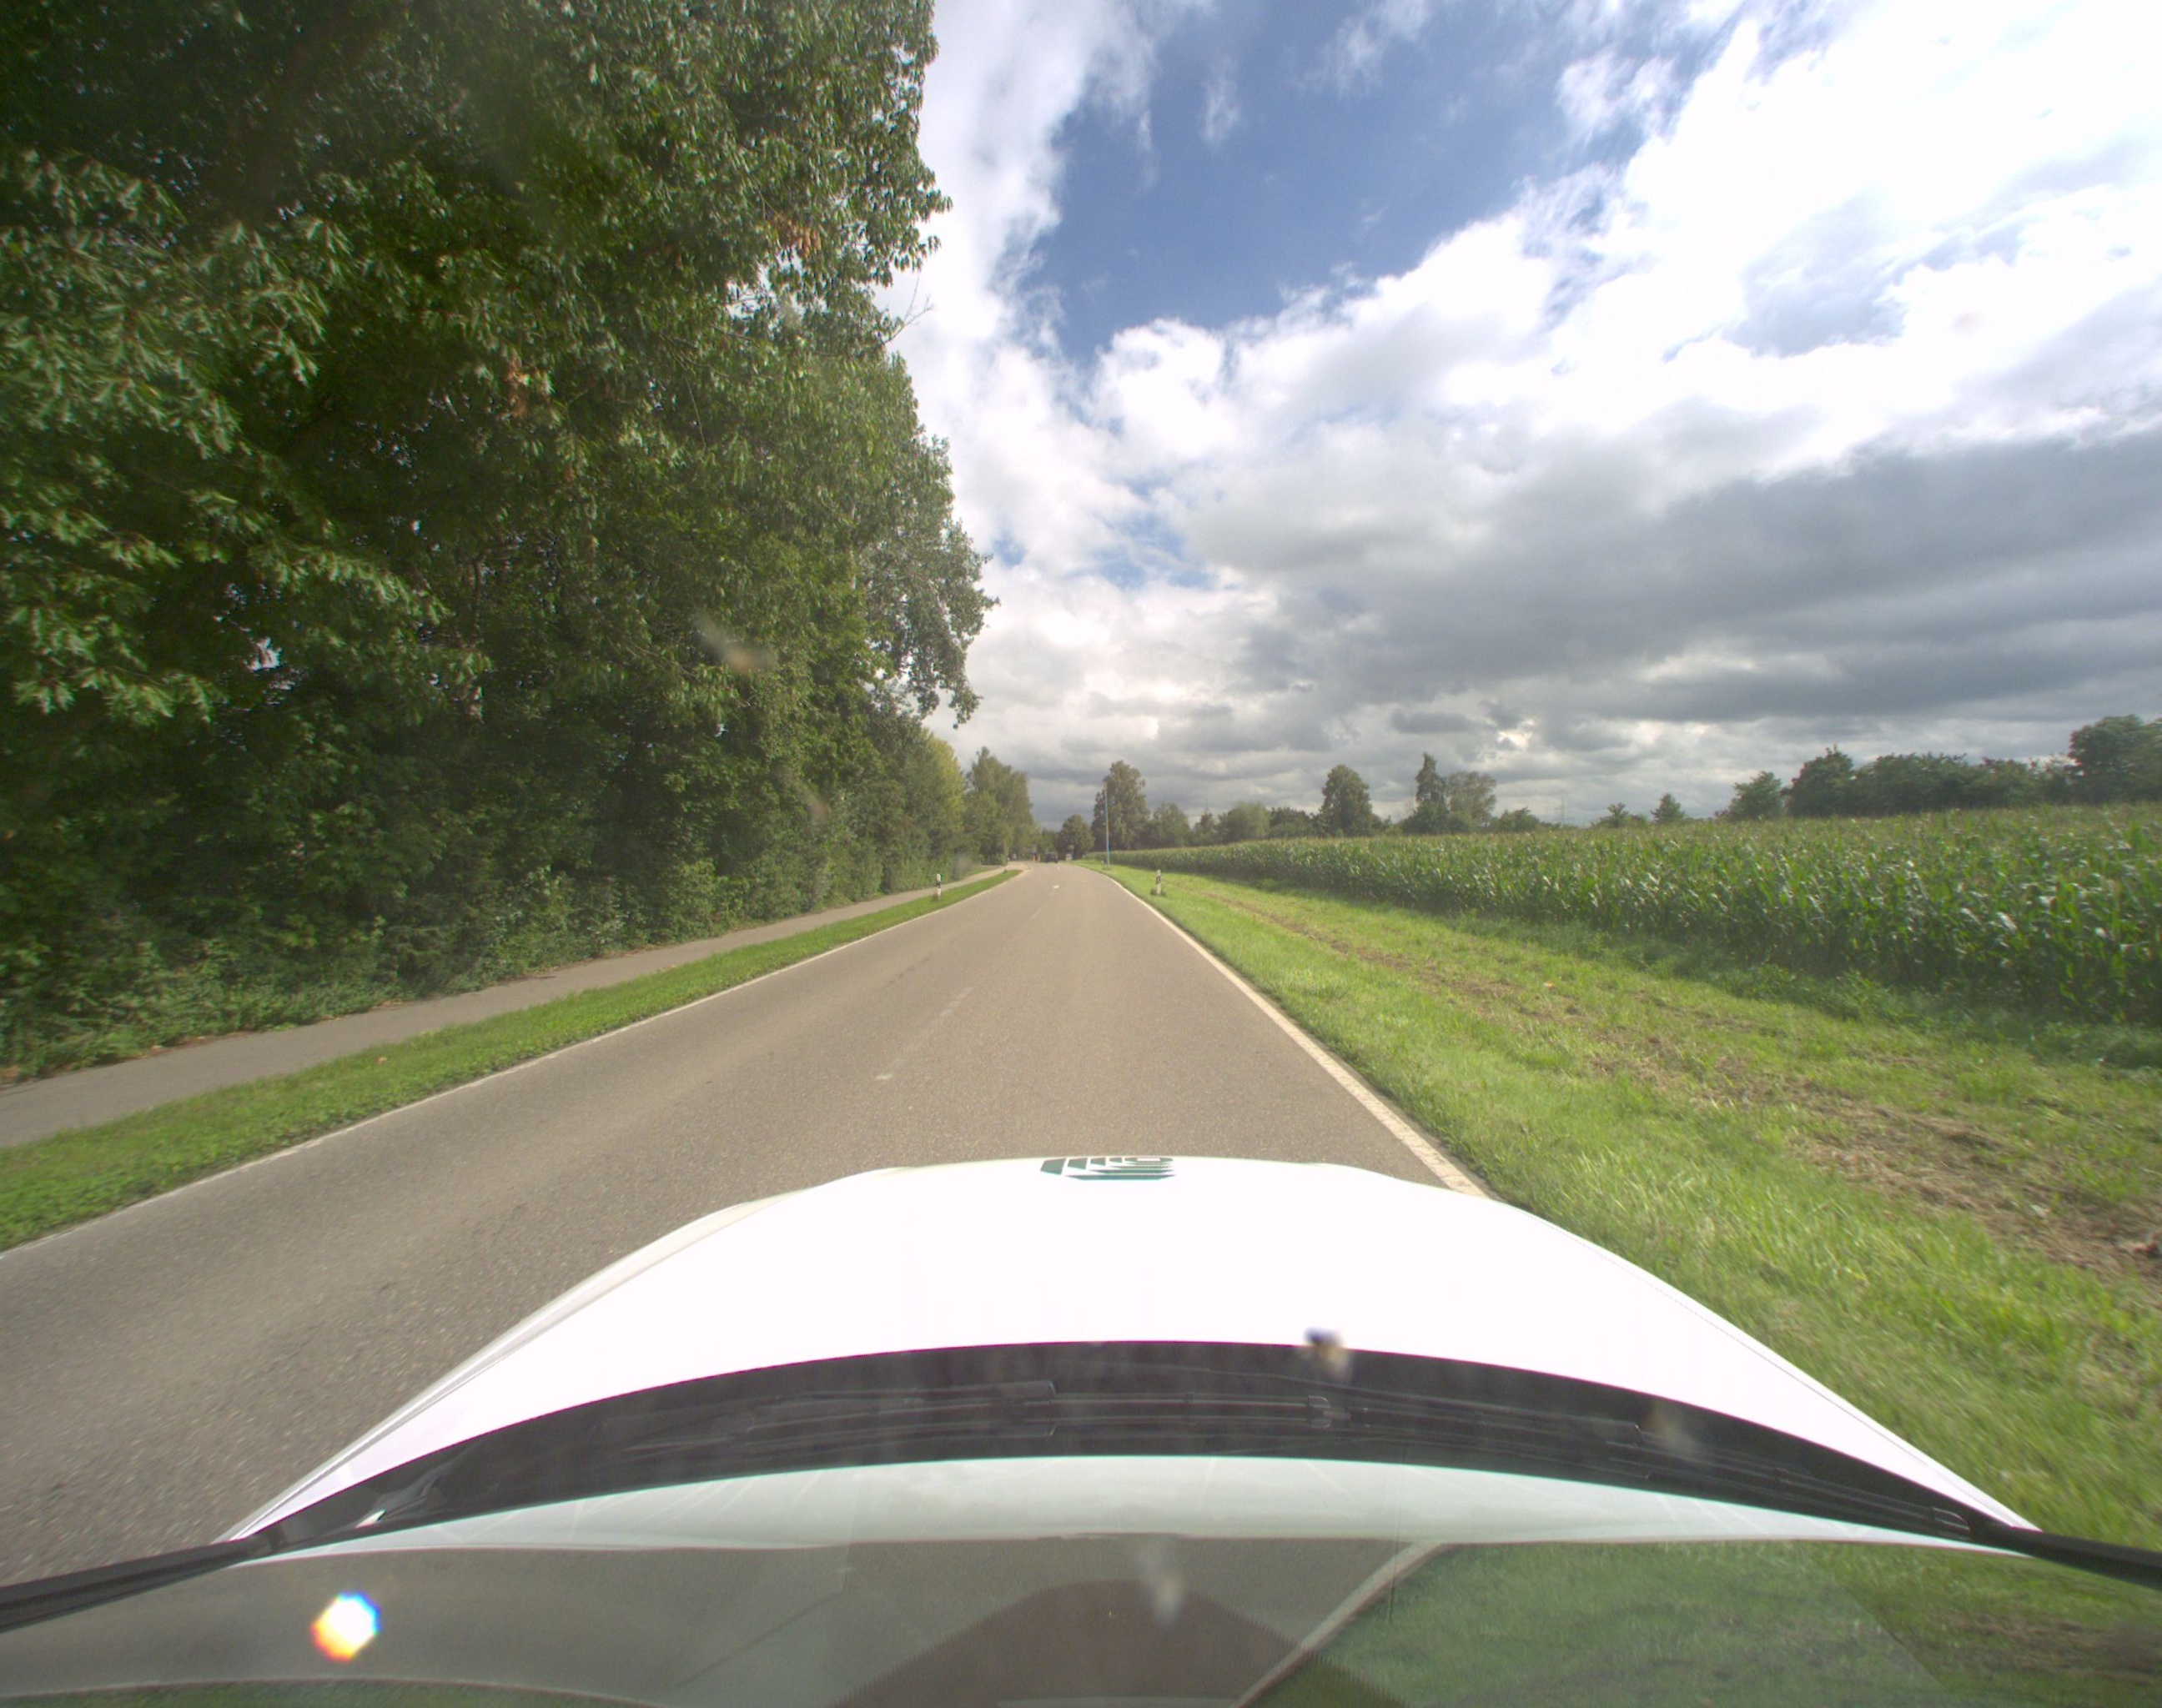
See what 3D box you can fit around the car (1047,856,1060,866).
[{"bbox_3d":[-4.520,1.078,132.726,1.989,1.585,3.995,1,-1,-3],"label":"car"}]
